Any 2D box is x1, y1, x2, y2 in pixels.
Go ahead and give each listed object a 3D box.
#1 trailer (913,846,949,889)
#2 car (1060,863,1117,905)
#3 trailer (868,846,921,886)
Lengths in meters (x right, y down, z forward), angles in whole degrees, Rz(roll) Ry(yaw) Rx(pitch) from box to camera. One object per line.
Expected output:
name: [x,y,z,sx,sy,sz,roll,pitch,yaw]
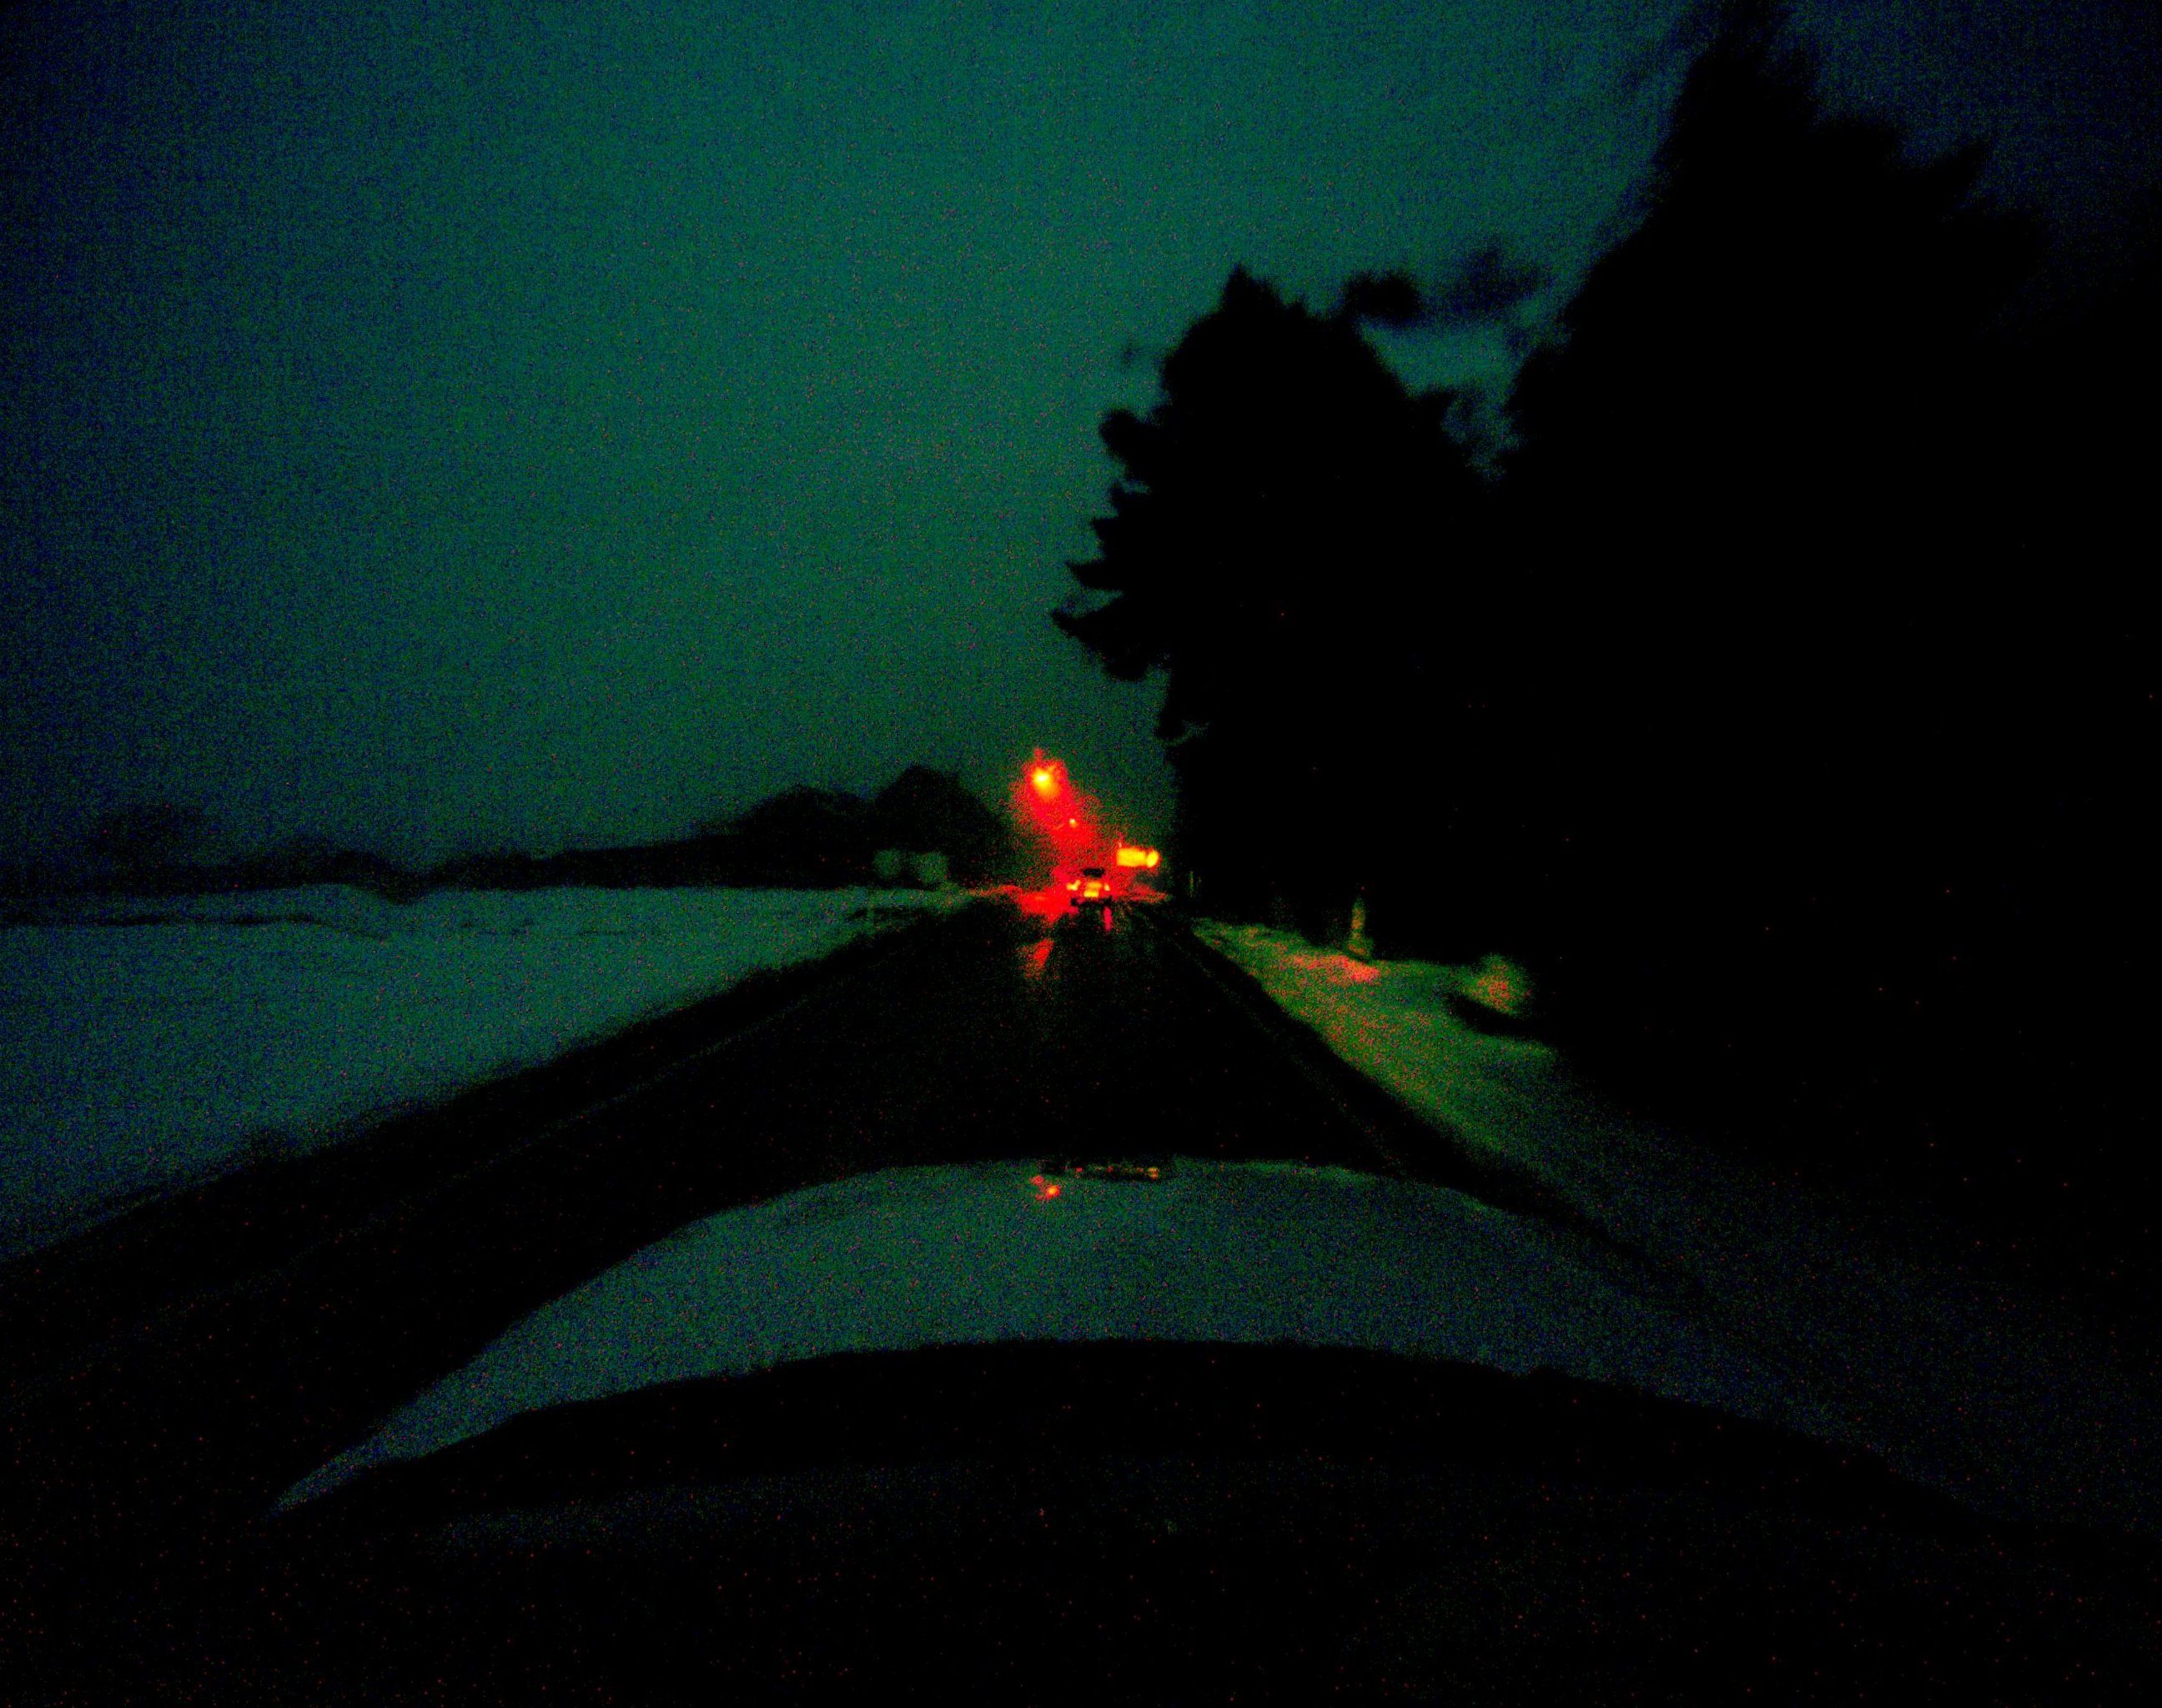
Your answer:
trailer: [-9.640,0.862,52.181,1.695,2.605,3.422,-1,-1,-19]
car: [0.375,1.164,32.707,1.985,1.508,4.004,-2,-1,4]
trailer: [-12.262,0.801,53.778,1.982,2.489,4.019,-2,-1,8]
